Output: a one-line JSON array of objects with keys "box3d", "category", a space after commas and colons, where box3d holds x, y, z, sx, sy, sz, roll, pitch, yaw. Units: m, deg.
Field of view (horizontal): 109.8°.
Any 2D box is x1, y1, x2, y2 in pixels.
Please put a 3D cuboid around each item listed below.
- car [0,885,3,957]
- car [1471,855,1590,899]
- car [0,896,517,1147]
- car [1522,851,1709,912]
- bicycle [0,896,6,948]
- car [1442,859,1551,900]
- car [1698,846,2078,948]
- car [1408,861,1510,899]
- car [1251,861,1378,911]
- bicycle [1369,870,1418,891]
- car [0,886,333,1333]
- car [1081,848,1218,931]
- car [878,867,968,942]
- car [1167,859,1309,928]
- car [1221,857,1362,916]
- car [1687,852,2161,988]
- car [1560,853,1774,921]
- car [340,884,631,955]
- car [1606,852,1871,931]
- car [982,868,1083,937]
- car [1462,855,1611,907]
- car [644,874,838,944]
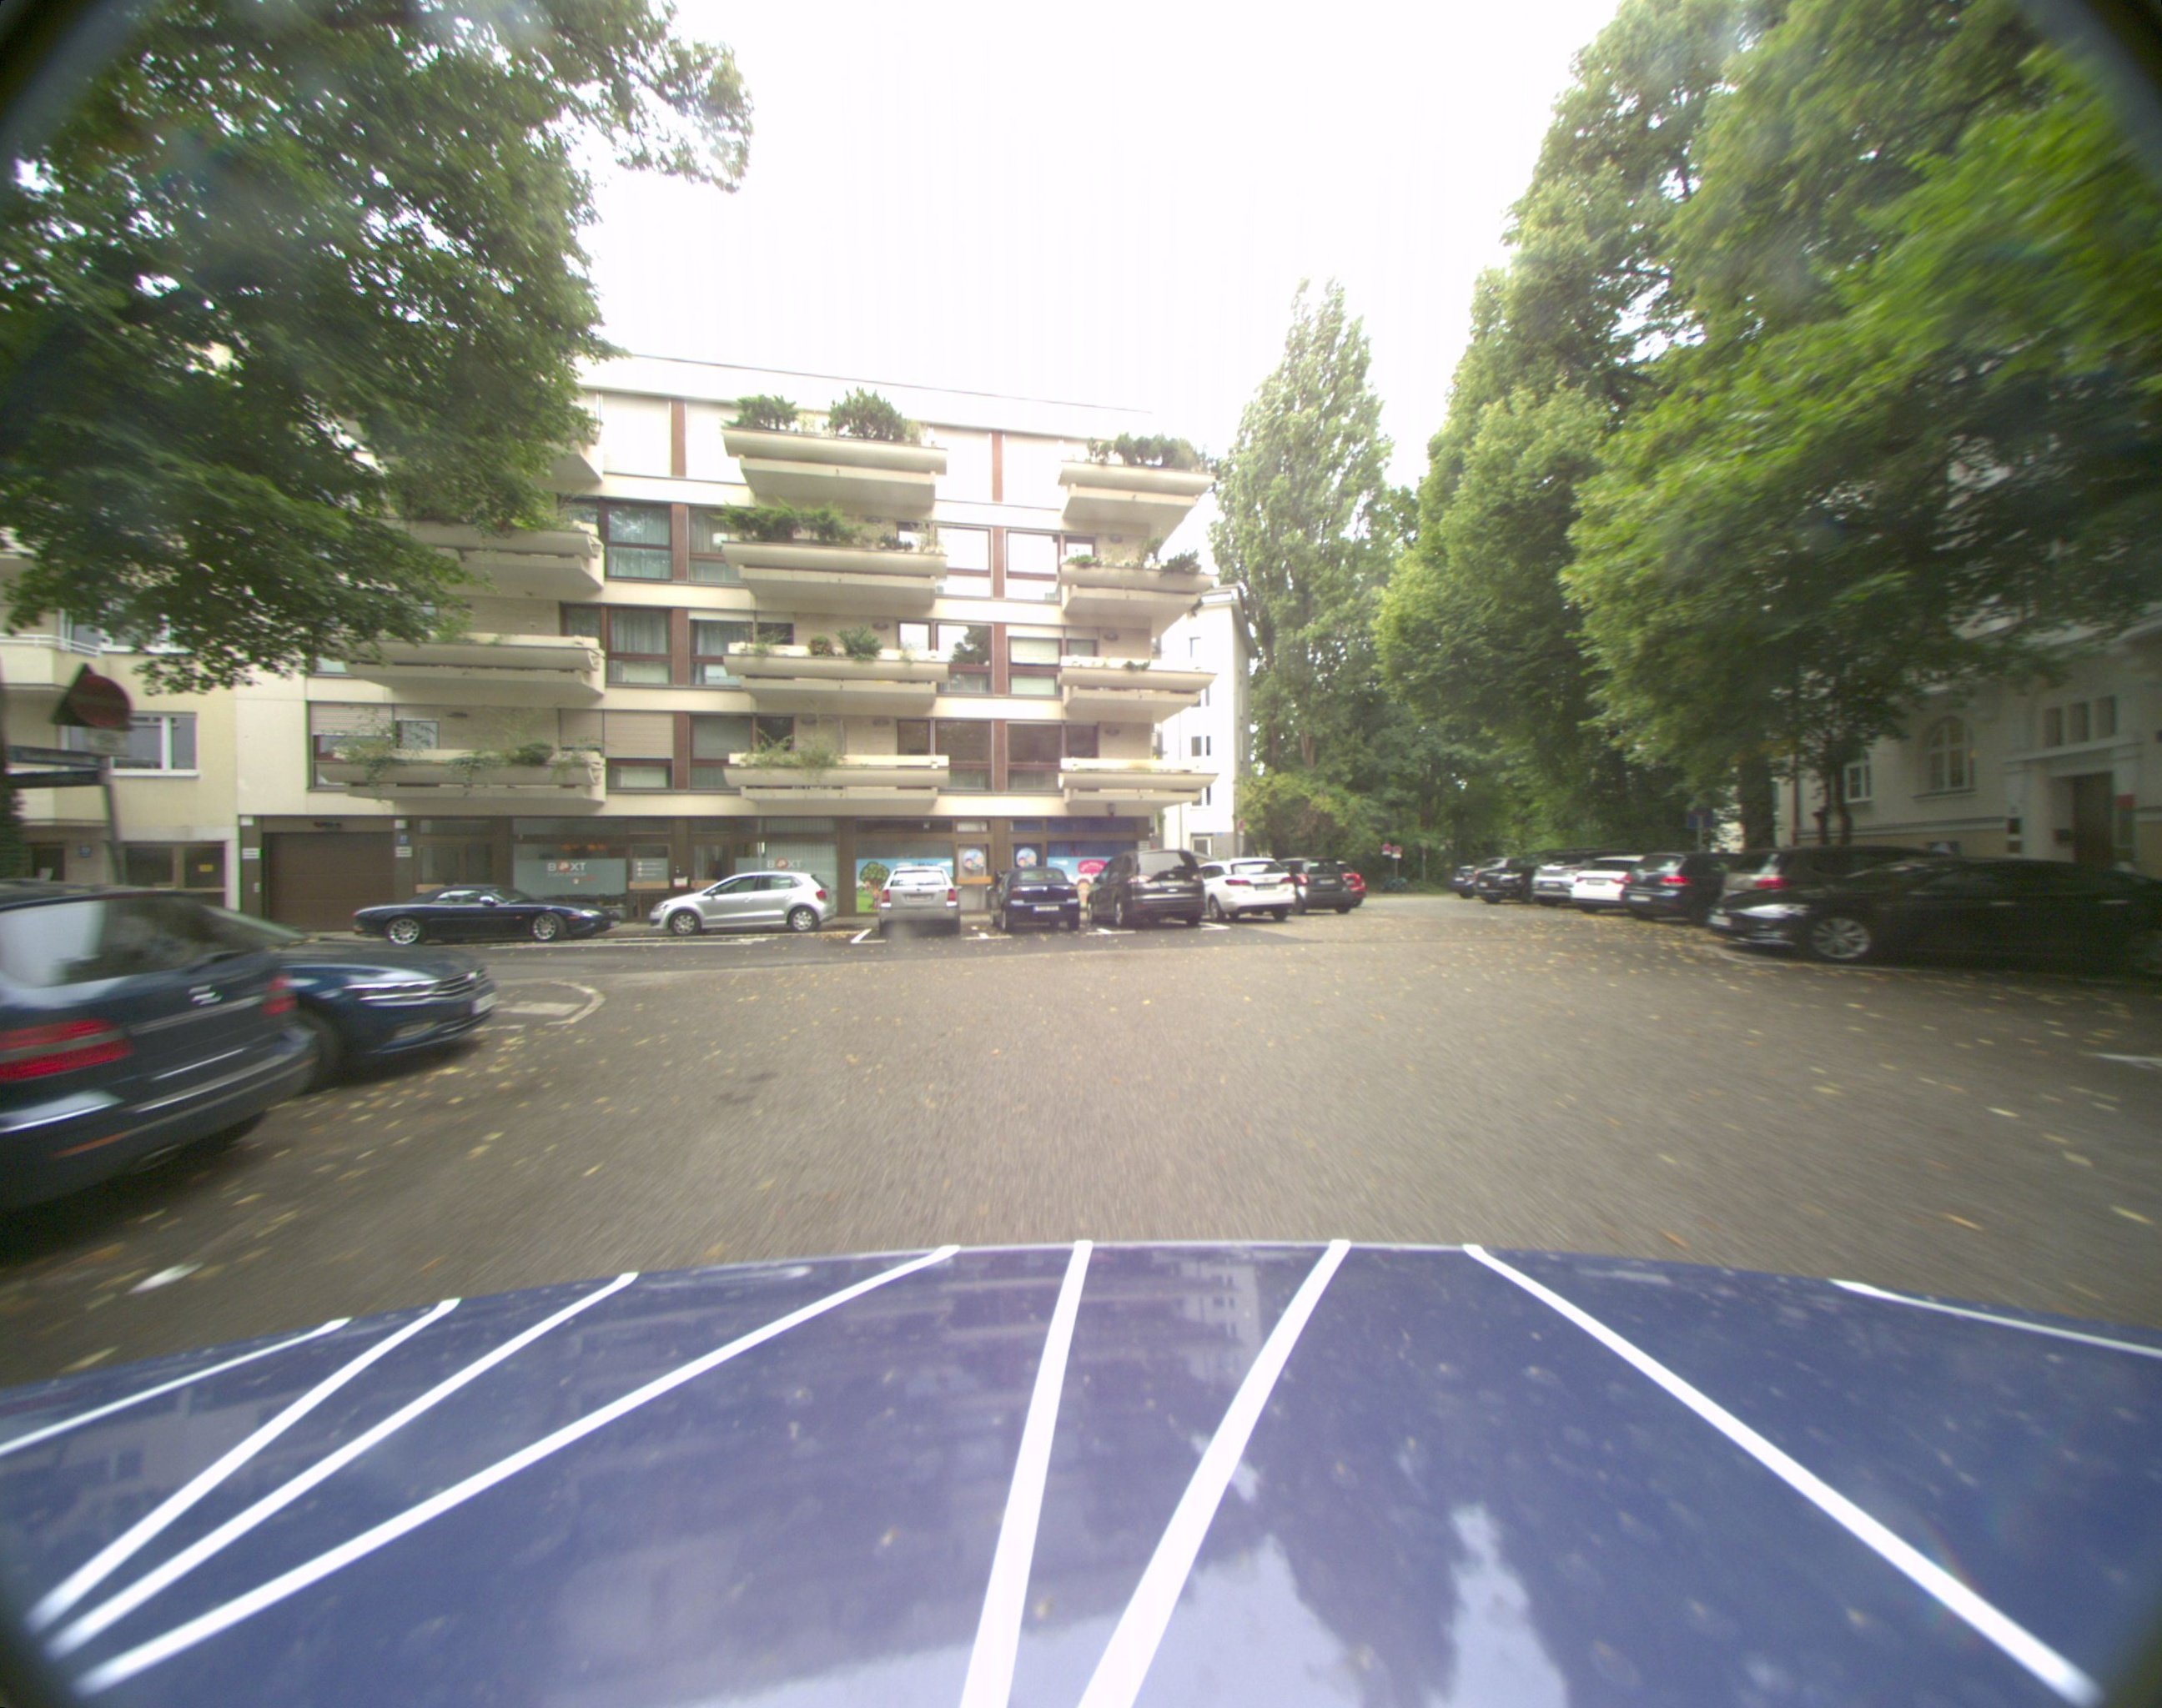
[{"box3d": [-24.021, 1.396, 14.557, 3.710, 1.487, 1.623, -1, 0, -13], "category": "car"}, {"box3d": [16.779, 0.814, 28.398, 4.004, 1.469, 1.721, -1, 1, -21], "category": "car"}, {"box3d": [-7.221, 1.112, 5.440, 4.738, 1.369, 1.956, -1, 0, -22], "category": "car"}, {"box3d": [14.412, 0.697, 20.587, 4.000, 1.501, 1.873, -1, 1, -10], "category": "car"}, {"box3d": [-24.930, 1.532, 16.618, 1.760, 1.142, 0.468, -1, 1, -12], "category": "bicycle"}, {"box3d": [16.877, 0.988, 30.881, 4.004, 1.469, 1.721, -1, 1, -21], "category": "car"}, {"box3d": [13.076, 0.661, 12.616, 4.018, 1.521, 1.846, -1, 0, 10], "category": "car"}, {"box3d": [16.448, 1.107, 33.078, 4.004, 1.469, 1.721, -1, 1, -21], "category": "car"}, {"box3d": [7.310, 0.935, 24.183, 1.758, 1.390, 3.993, -1, 0, -21], "category": "car"}, {"box3d": [17.383, 1.489, 42.316, 2.465, 1.111, 0.826, -1, 1, 20], "category": "bicycle"}, {"box3d": [-6.018, 0.987, 2.988, 3.987, 1.546, 1.753, -1, 0, -18], "category": "car"}, {"box3d": [1.442, 0.822, 17.863, 1.903, 1.673, 4.230, -1, -2, -14], "category": "car"}, {"box3d": [-3.584, 1.108, 17.205, 1.722, 1.445, 4.239, -1, -3, -12], "category": "car"}, {"box3d": [3.673, 0.959, 18.582, 1.836, 1.470, 3.997, -1, -3, -14], "category": "car"}, {"box3d": [5.751, 0.932, 21.282, 1.837, 1.470, 3.996, 0, -3, -18], "category": "car"}, {"box3d": [11.154, 0.773, 10.256, 4.279, 1.459, 1.711, 1, 2, 18], "category": "car"}, {"box3d": [13.691, 0.729, 17.841, 4.000, 1.423, 1.722, -1, 1, -10], "category": "car"}, {"box3d": [-12.644, 1.361, 16.473, 4.618, 1.270, 1.801, -1, -2, -13], "category": "car"}, {"box3d": [13.210, 0.709, 15.410, 3.999, 1.423, 1.796, -1, 1, -5], "category": "car"}, {"box3d": [-1.245, 1.073, 17.597, 1.718, 1.359, 4.069, -1, -2, -12], "category": "car"}, {"box3d": [13.927, 0.761, 23.231, 4.005, 1.393, 2.058, -1, 1, -26], "category": "car"}, {"box3d": [-7.711, 1.221, 17.554, 3.835, 1.412, 1.564, -1, -2, -13], "category": "car"}]
